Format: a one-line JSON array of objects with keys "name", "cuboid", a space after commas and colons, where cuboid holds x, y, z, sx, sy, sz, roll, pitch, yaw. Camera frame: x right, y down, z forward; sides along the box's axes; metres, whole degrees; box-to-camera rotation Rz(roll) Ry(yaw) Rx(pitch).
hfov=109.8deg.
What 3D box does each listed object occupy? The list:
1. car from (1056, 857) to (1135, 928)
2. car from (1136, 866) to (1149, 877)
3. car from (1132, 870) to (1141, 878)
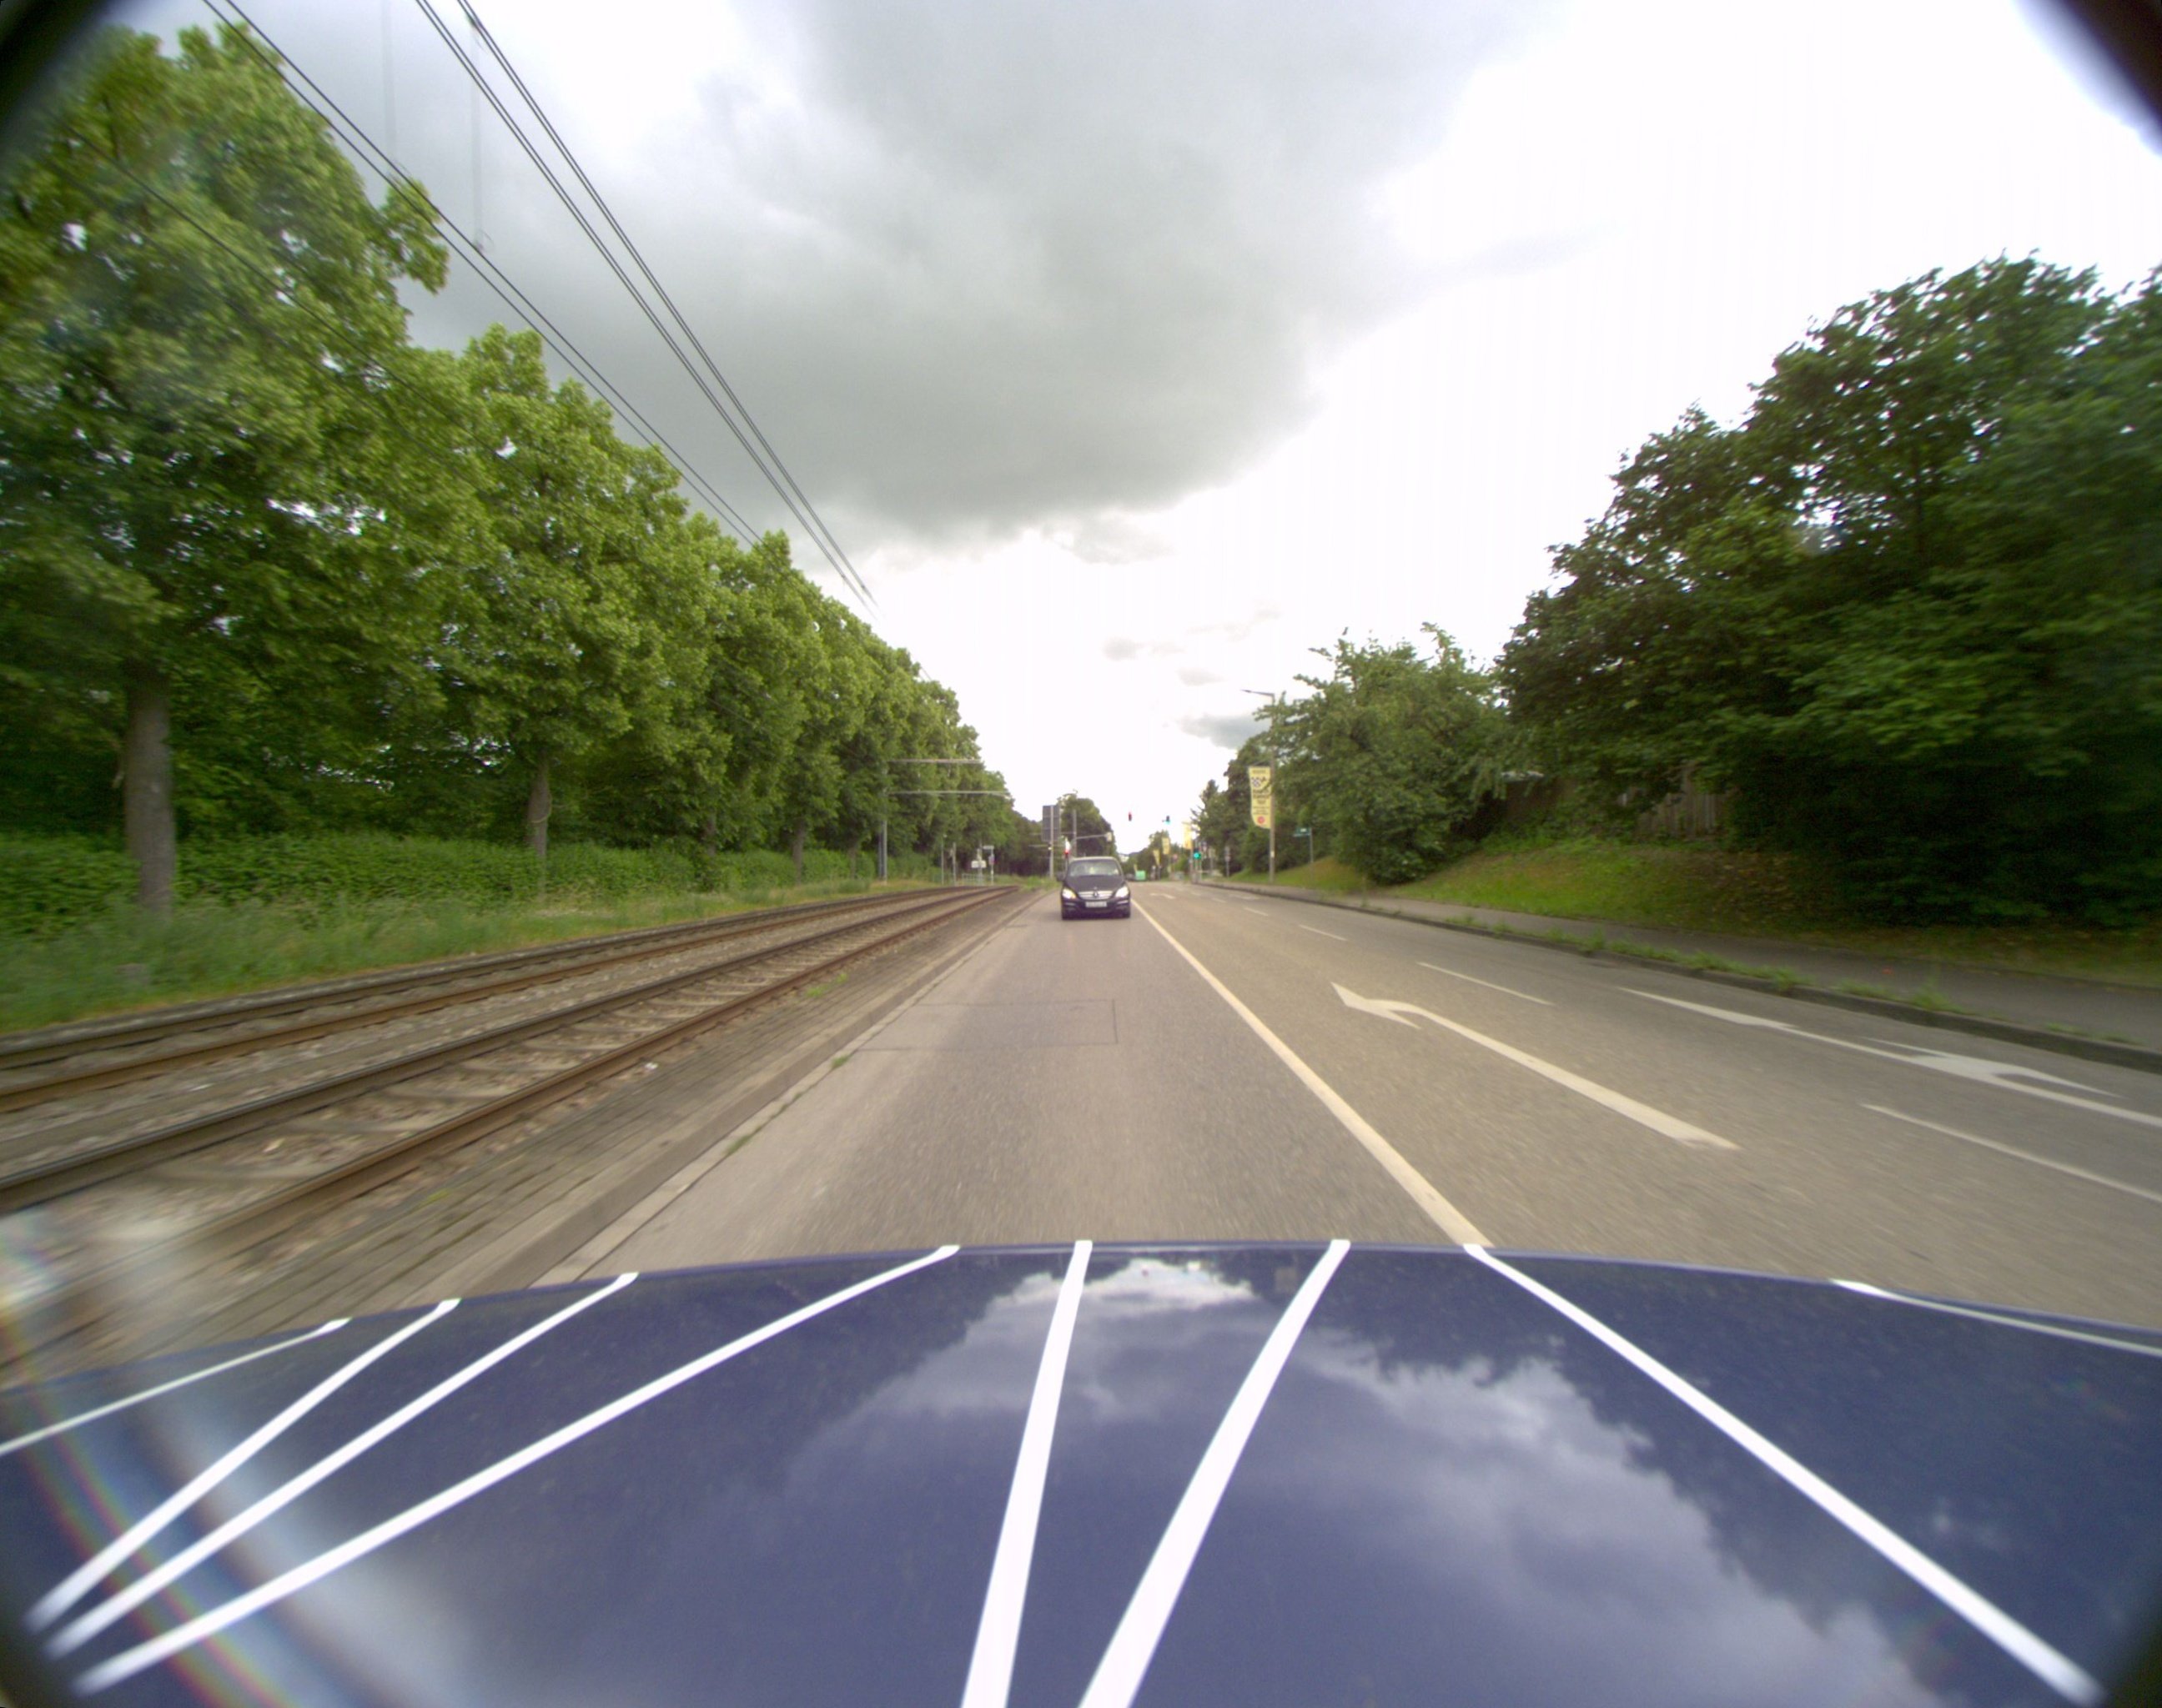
[{"name": "car", "cuboid": [0.373, 0.894, 19.493, 1.749, 1.558, 4.122, -2, 0, 1]}, {"name": "car", "cuboid": [10.434, 3.024, 129.192, 2.063, 1.799, 4.731, 1, -1, 2]}, {"name": "car", "cuboid": [12.571, 4.444, 171.272, 1.903, 1.570, 4.279, 0, 0, 3]}]
